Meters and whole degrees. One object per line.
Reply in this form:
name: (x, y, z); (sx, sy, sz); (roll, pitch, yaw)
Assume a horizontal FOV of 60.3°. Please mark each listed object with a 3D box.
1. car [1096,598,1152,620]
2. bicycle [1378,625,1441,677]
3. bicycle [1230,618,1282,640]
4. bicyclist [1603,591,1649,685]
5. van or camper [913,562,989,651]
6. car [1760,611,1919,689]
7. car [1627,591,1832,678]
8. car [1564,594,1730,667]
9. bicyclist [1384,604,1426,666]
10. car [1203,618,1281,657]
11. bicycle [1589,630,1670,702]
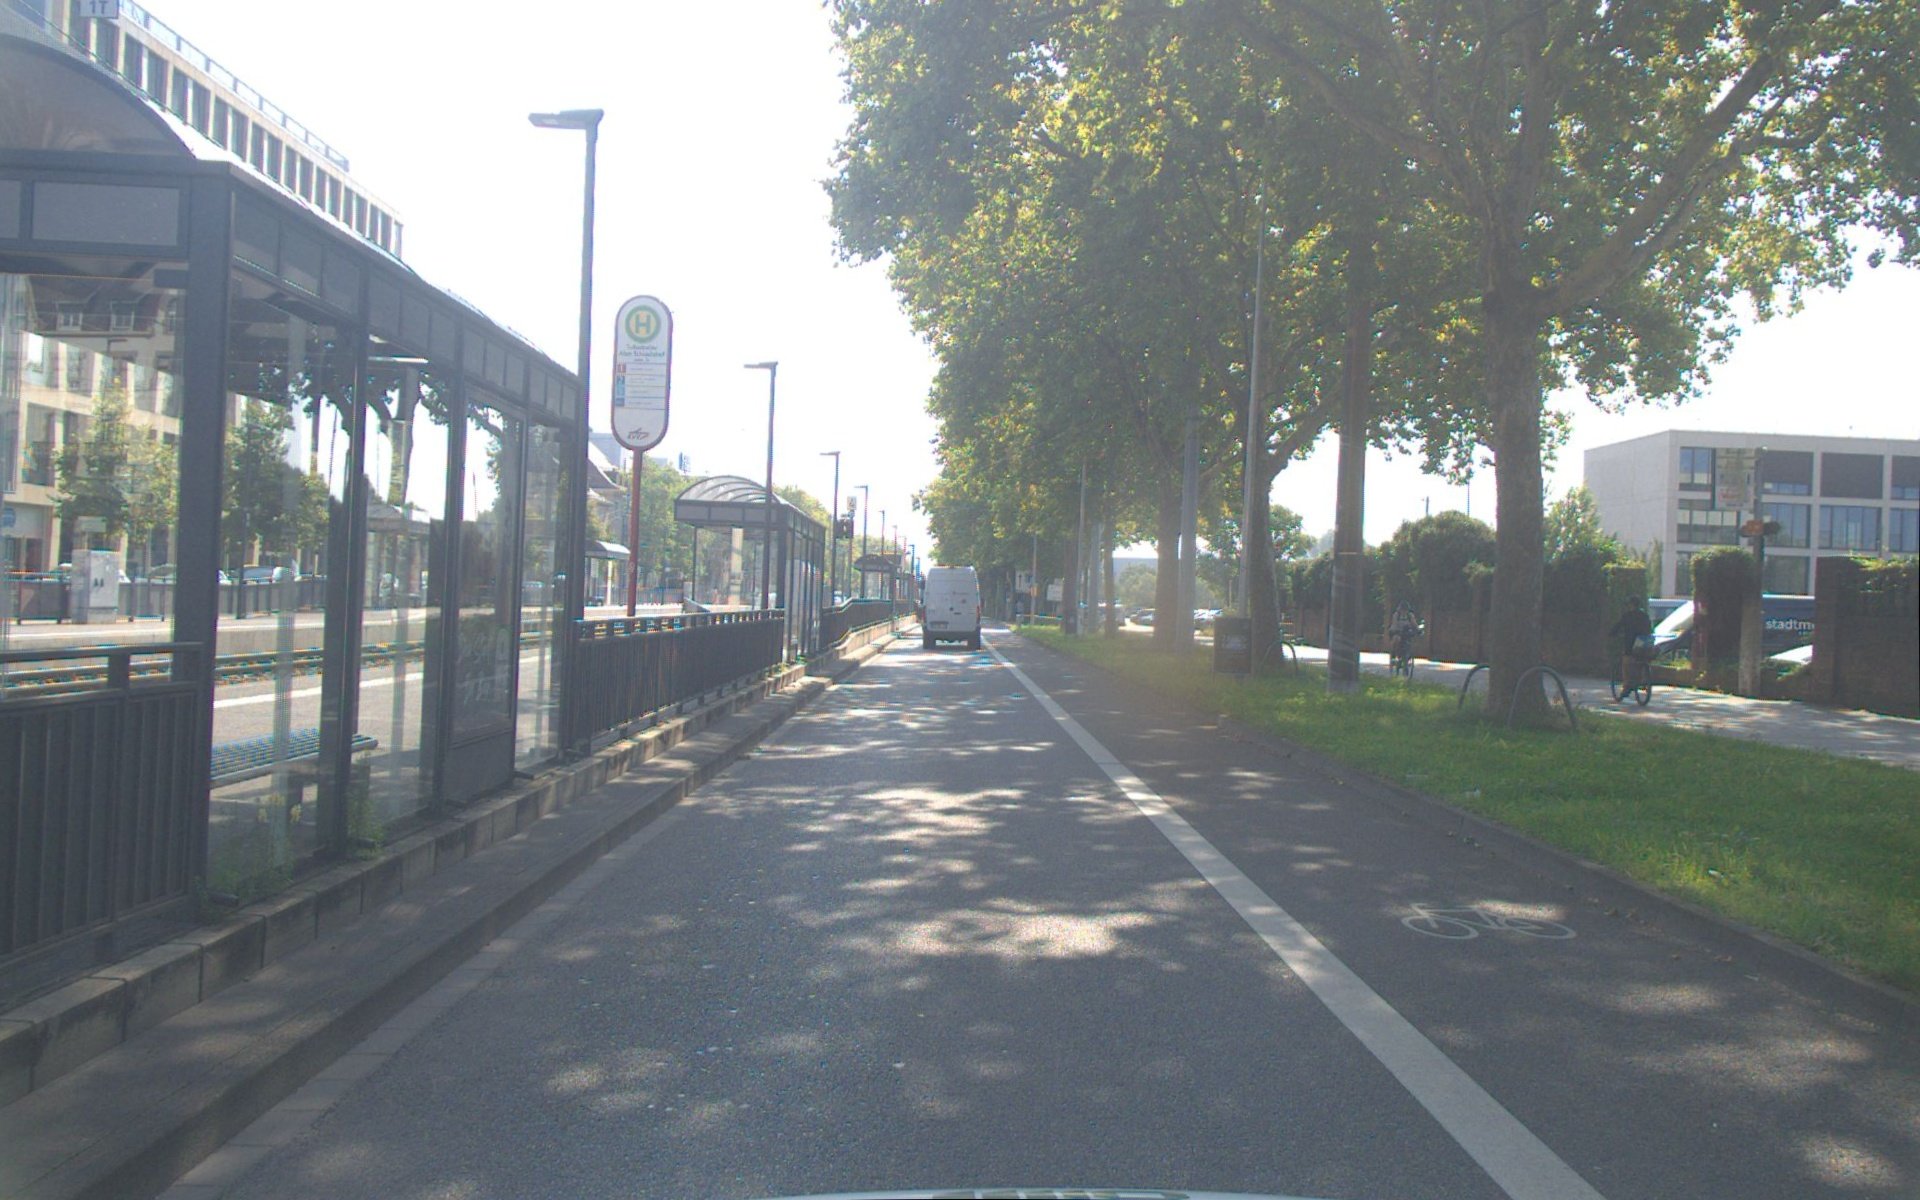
car: (12.261, 0.694, 123.655); (3.906, 1.400, 1.999); (4, -1, -1)
bicycle: (9.542, 1.064, 35.223); (0.667, 1.023, 2.217); (1, 0, -2)
bicycle: (12.625, 1.224, 70.564); (2.135, 0.861, 0.503); (1, 0, -1)
bicyclist: (11.236, 0.634, 27.914); (0.460, 1.566, 0.596); (2, 0, -4)
van or camper: (-0.367, 0.207, 56.073); (2.074, 2.728, 5.246); (4, 0, -4)
car: (18.366, 1.009, 33.191); (3.907, 1.428, 1.503); (2, 0, -3)
car: (18.357, 0.802, 39.535); (4.188, 1.926, 1.560); (2, 0, -3)
car: (18.992, 0.822, 45.788); (3.922, 1.875, 1.560); (2, 0, -3)
bicyclist: (9.515, 0.737, 35.366); (0.656, 1.298, 0.728); (1, 0, -2)
car: (15.805, 2.087, 92.754); (3.906, 1.914, 1.999); (4, -1, -1)
bicycle: (11.231, 1.090, 27.807); (0.481, 1.108, 1.856); (2, 0, -3)
